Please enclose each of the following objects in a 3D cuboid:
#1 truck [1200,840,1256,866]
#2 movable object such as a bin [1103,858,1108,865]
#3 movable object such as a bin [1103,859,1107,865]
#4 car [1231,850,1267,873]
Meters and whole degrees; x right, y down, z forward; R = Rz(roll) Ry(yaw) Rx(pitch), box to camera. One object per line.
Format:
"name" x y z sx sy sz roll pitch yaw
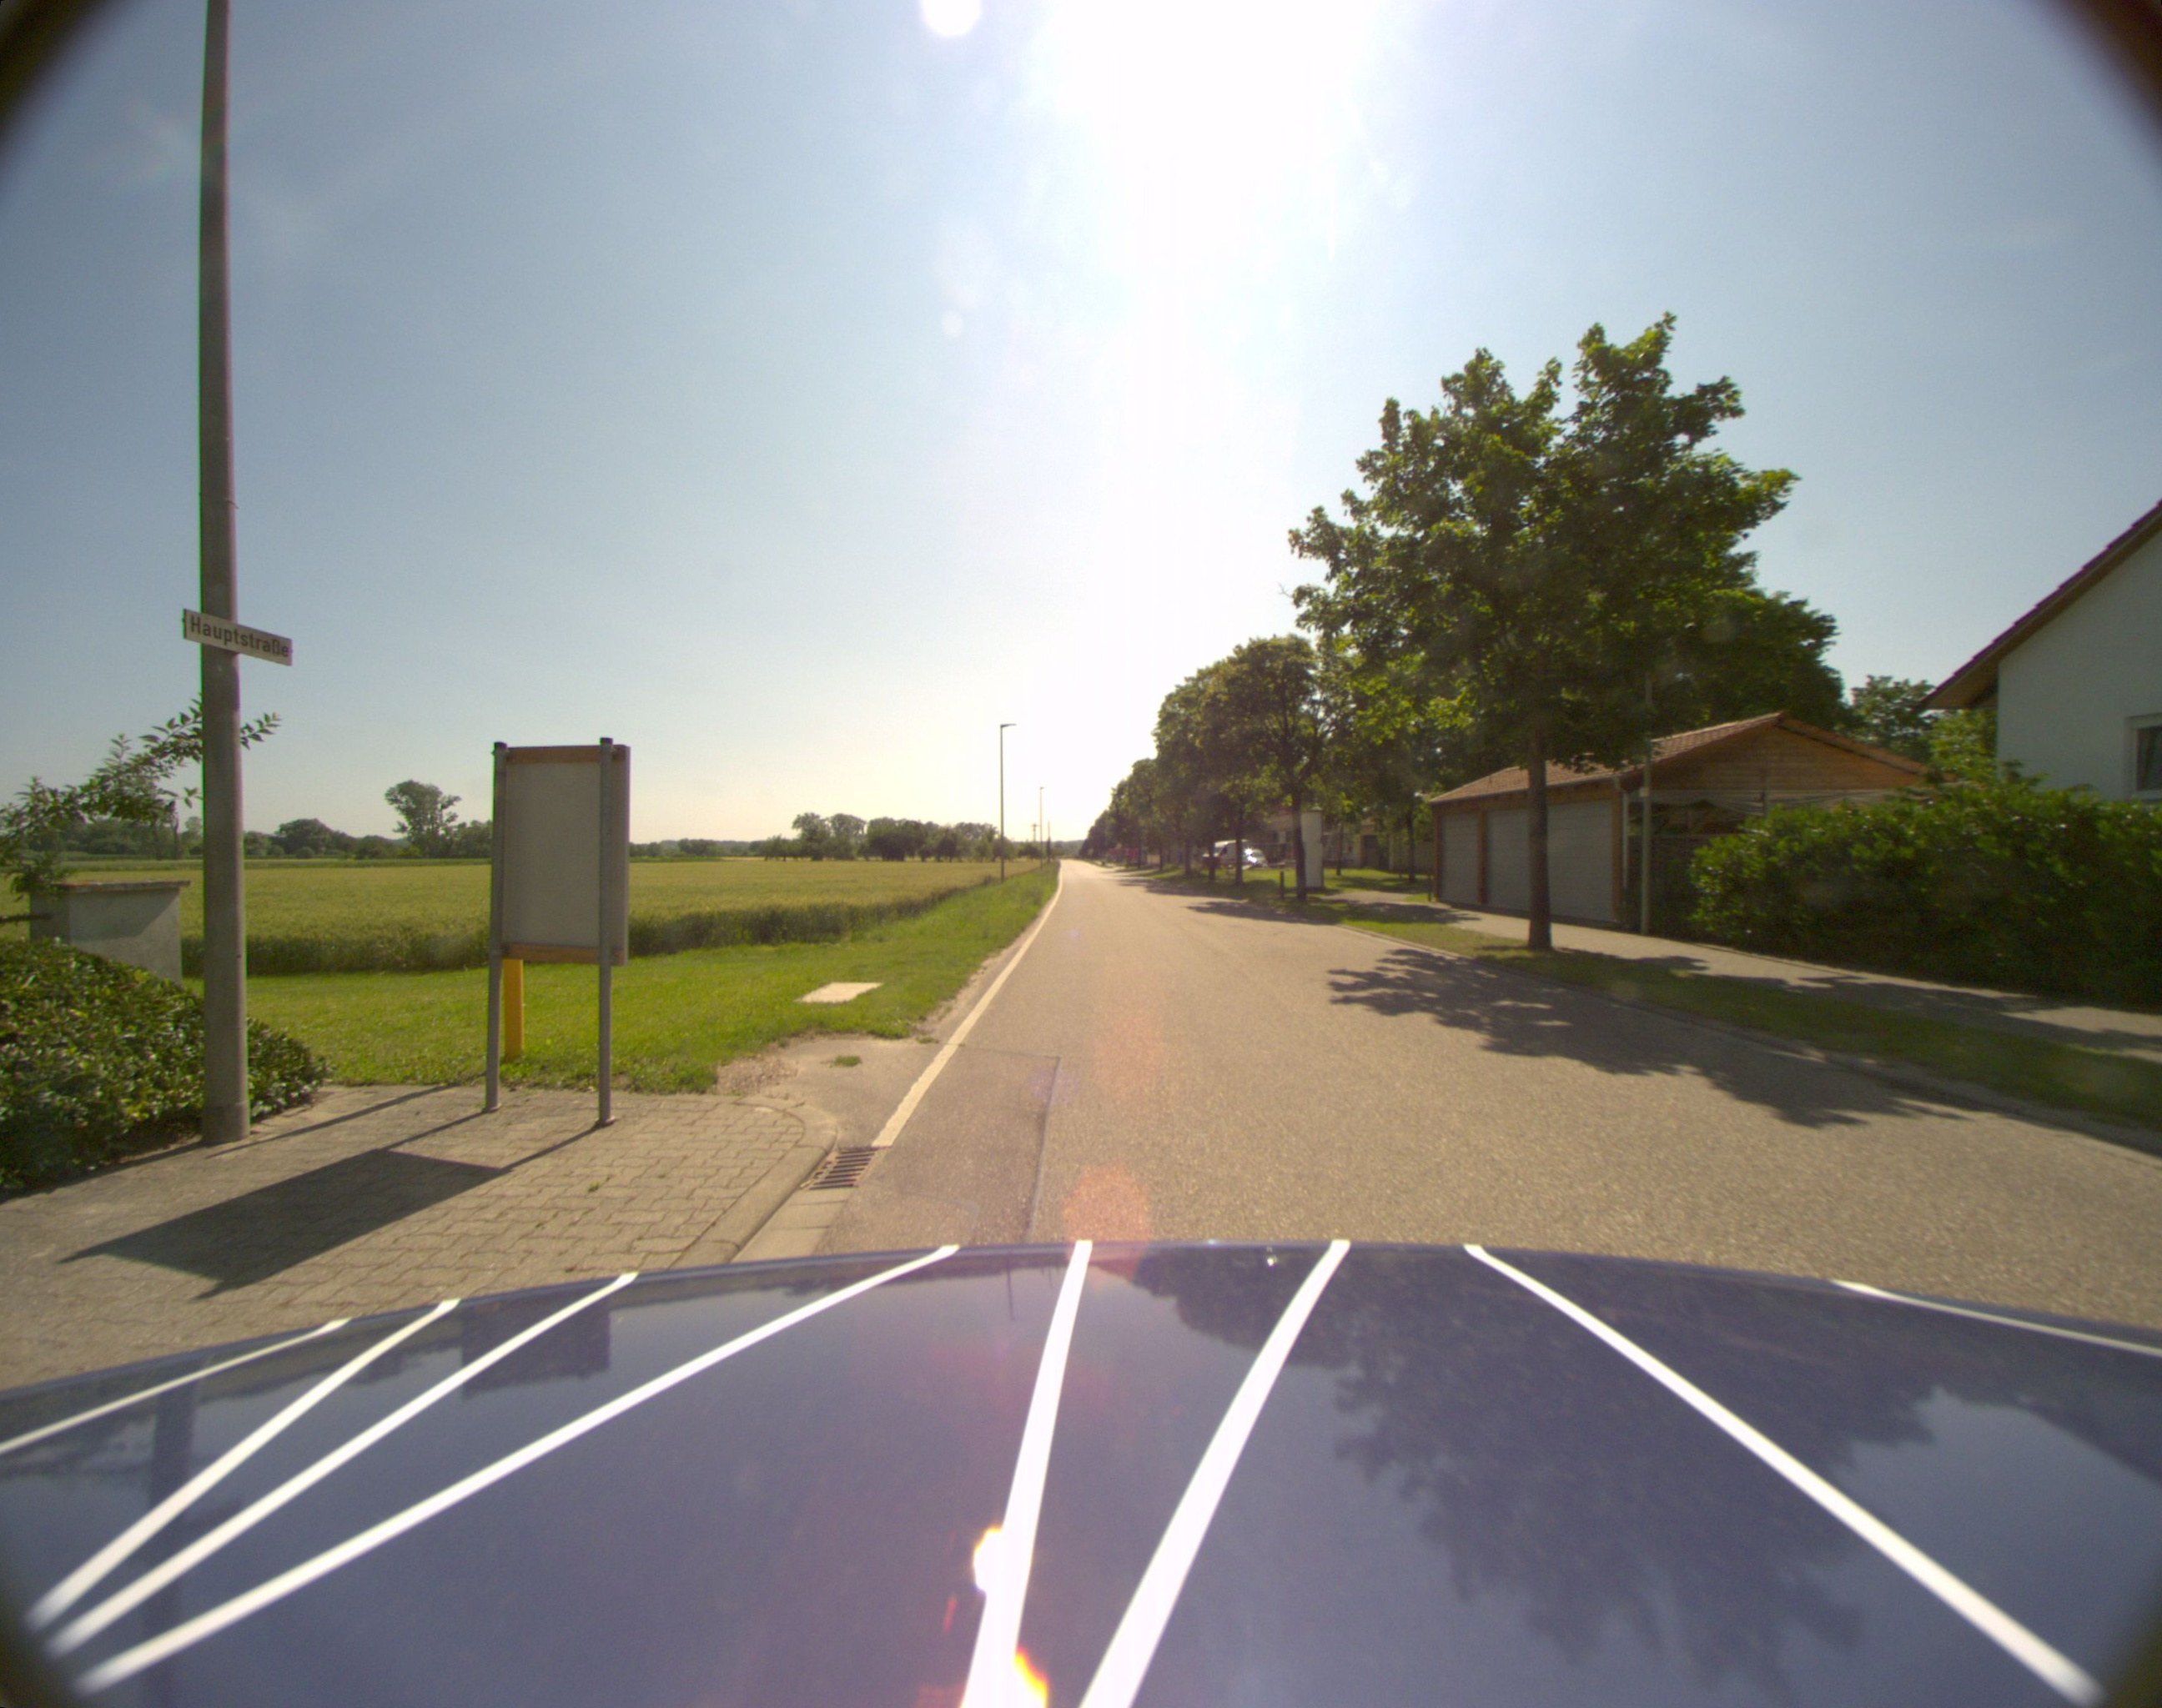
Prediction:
"truck" 14.634 -0.124 75.259 5.943 2.469 1.994 -1 1 -38
"movable object such as a bin" 3.737 1.160 116.409 0.700 1.018 0.748 0 0 6
"movable object such as a bin" 3.658 1.240 115.720 0.563 0.872 0.614 0 0 6
"car" 14.137 0.612 64.265 1.976 1.827 4.327 -1 0 -2
